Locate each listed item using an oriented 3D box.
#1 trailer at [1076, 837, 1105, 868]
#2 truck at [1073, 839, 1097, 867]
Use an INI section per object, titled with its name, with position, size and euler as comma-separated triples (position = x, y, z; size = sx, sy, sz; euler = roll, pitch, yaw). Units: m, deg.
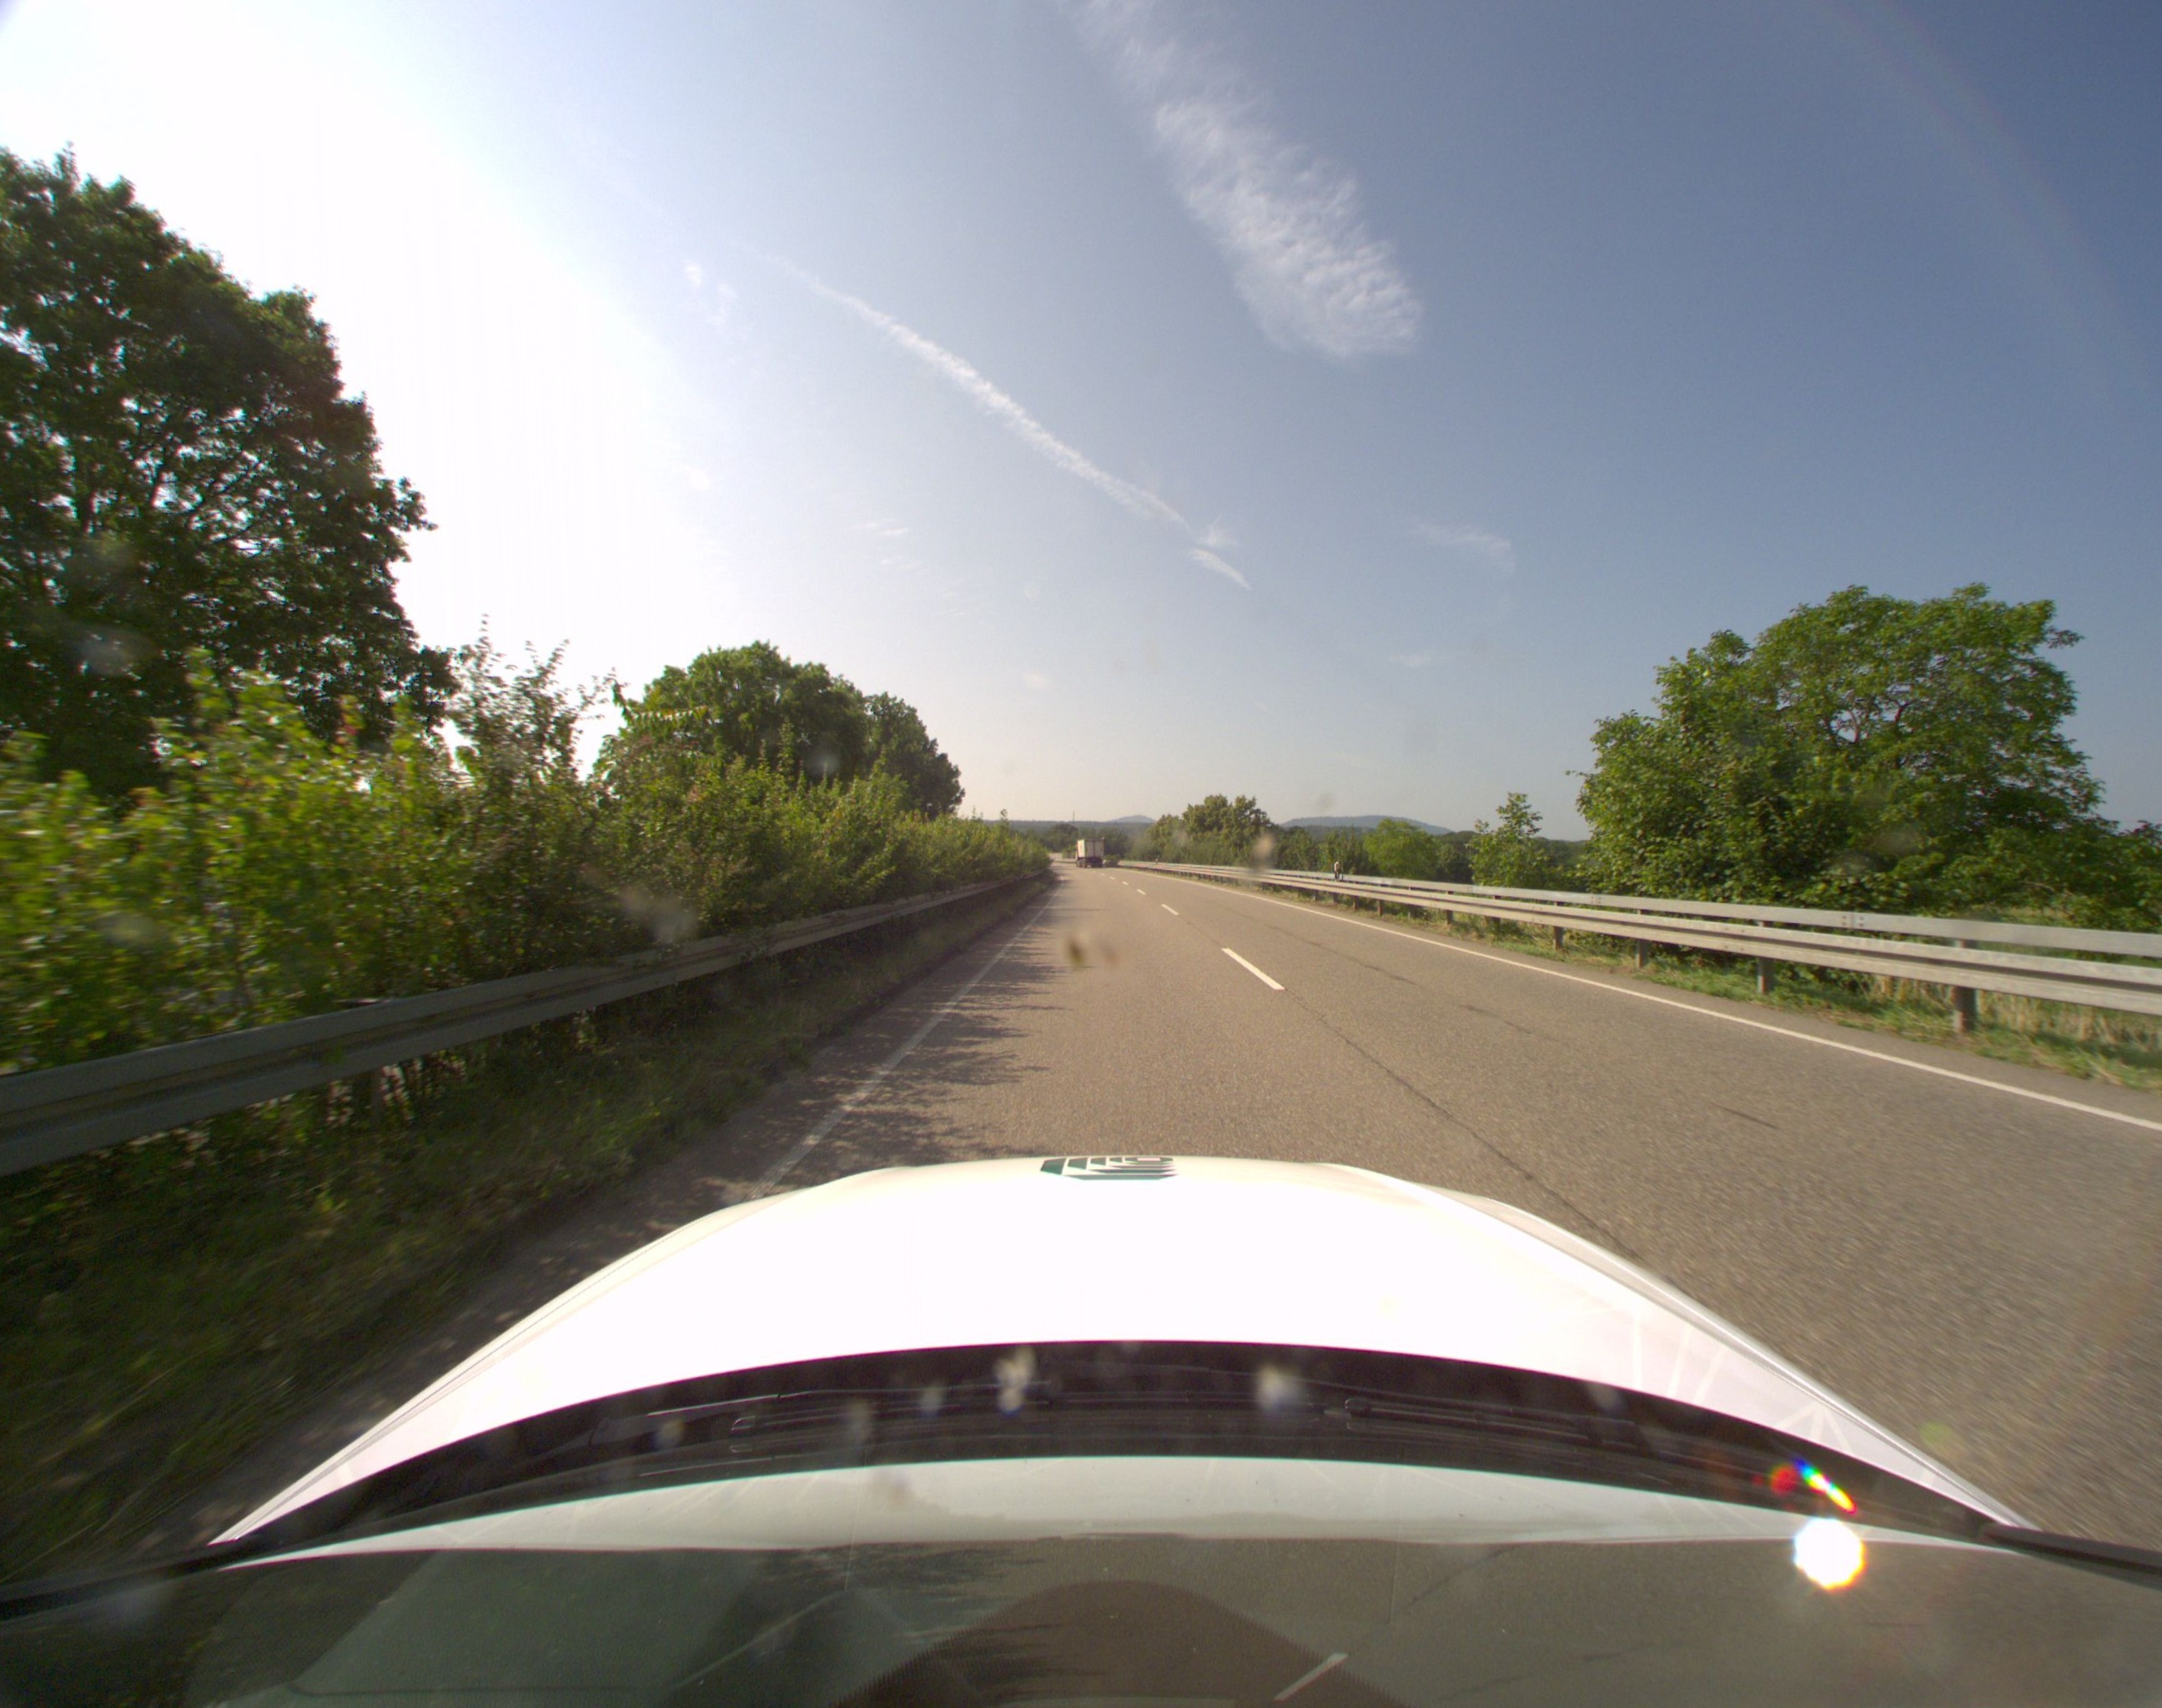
[trailer]
position = 1.202, -0.195, 111.173
size = 2.676, 3.907, 9.650
euler = -1, 0, -6
[truck]
position = 0.535, -0.194, 117.091
size = 2.656, 3.896, 5.635
euler = -1, 0, -7
